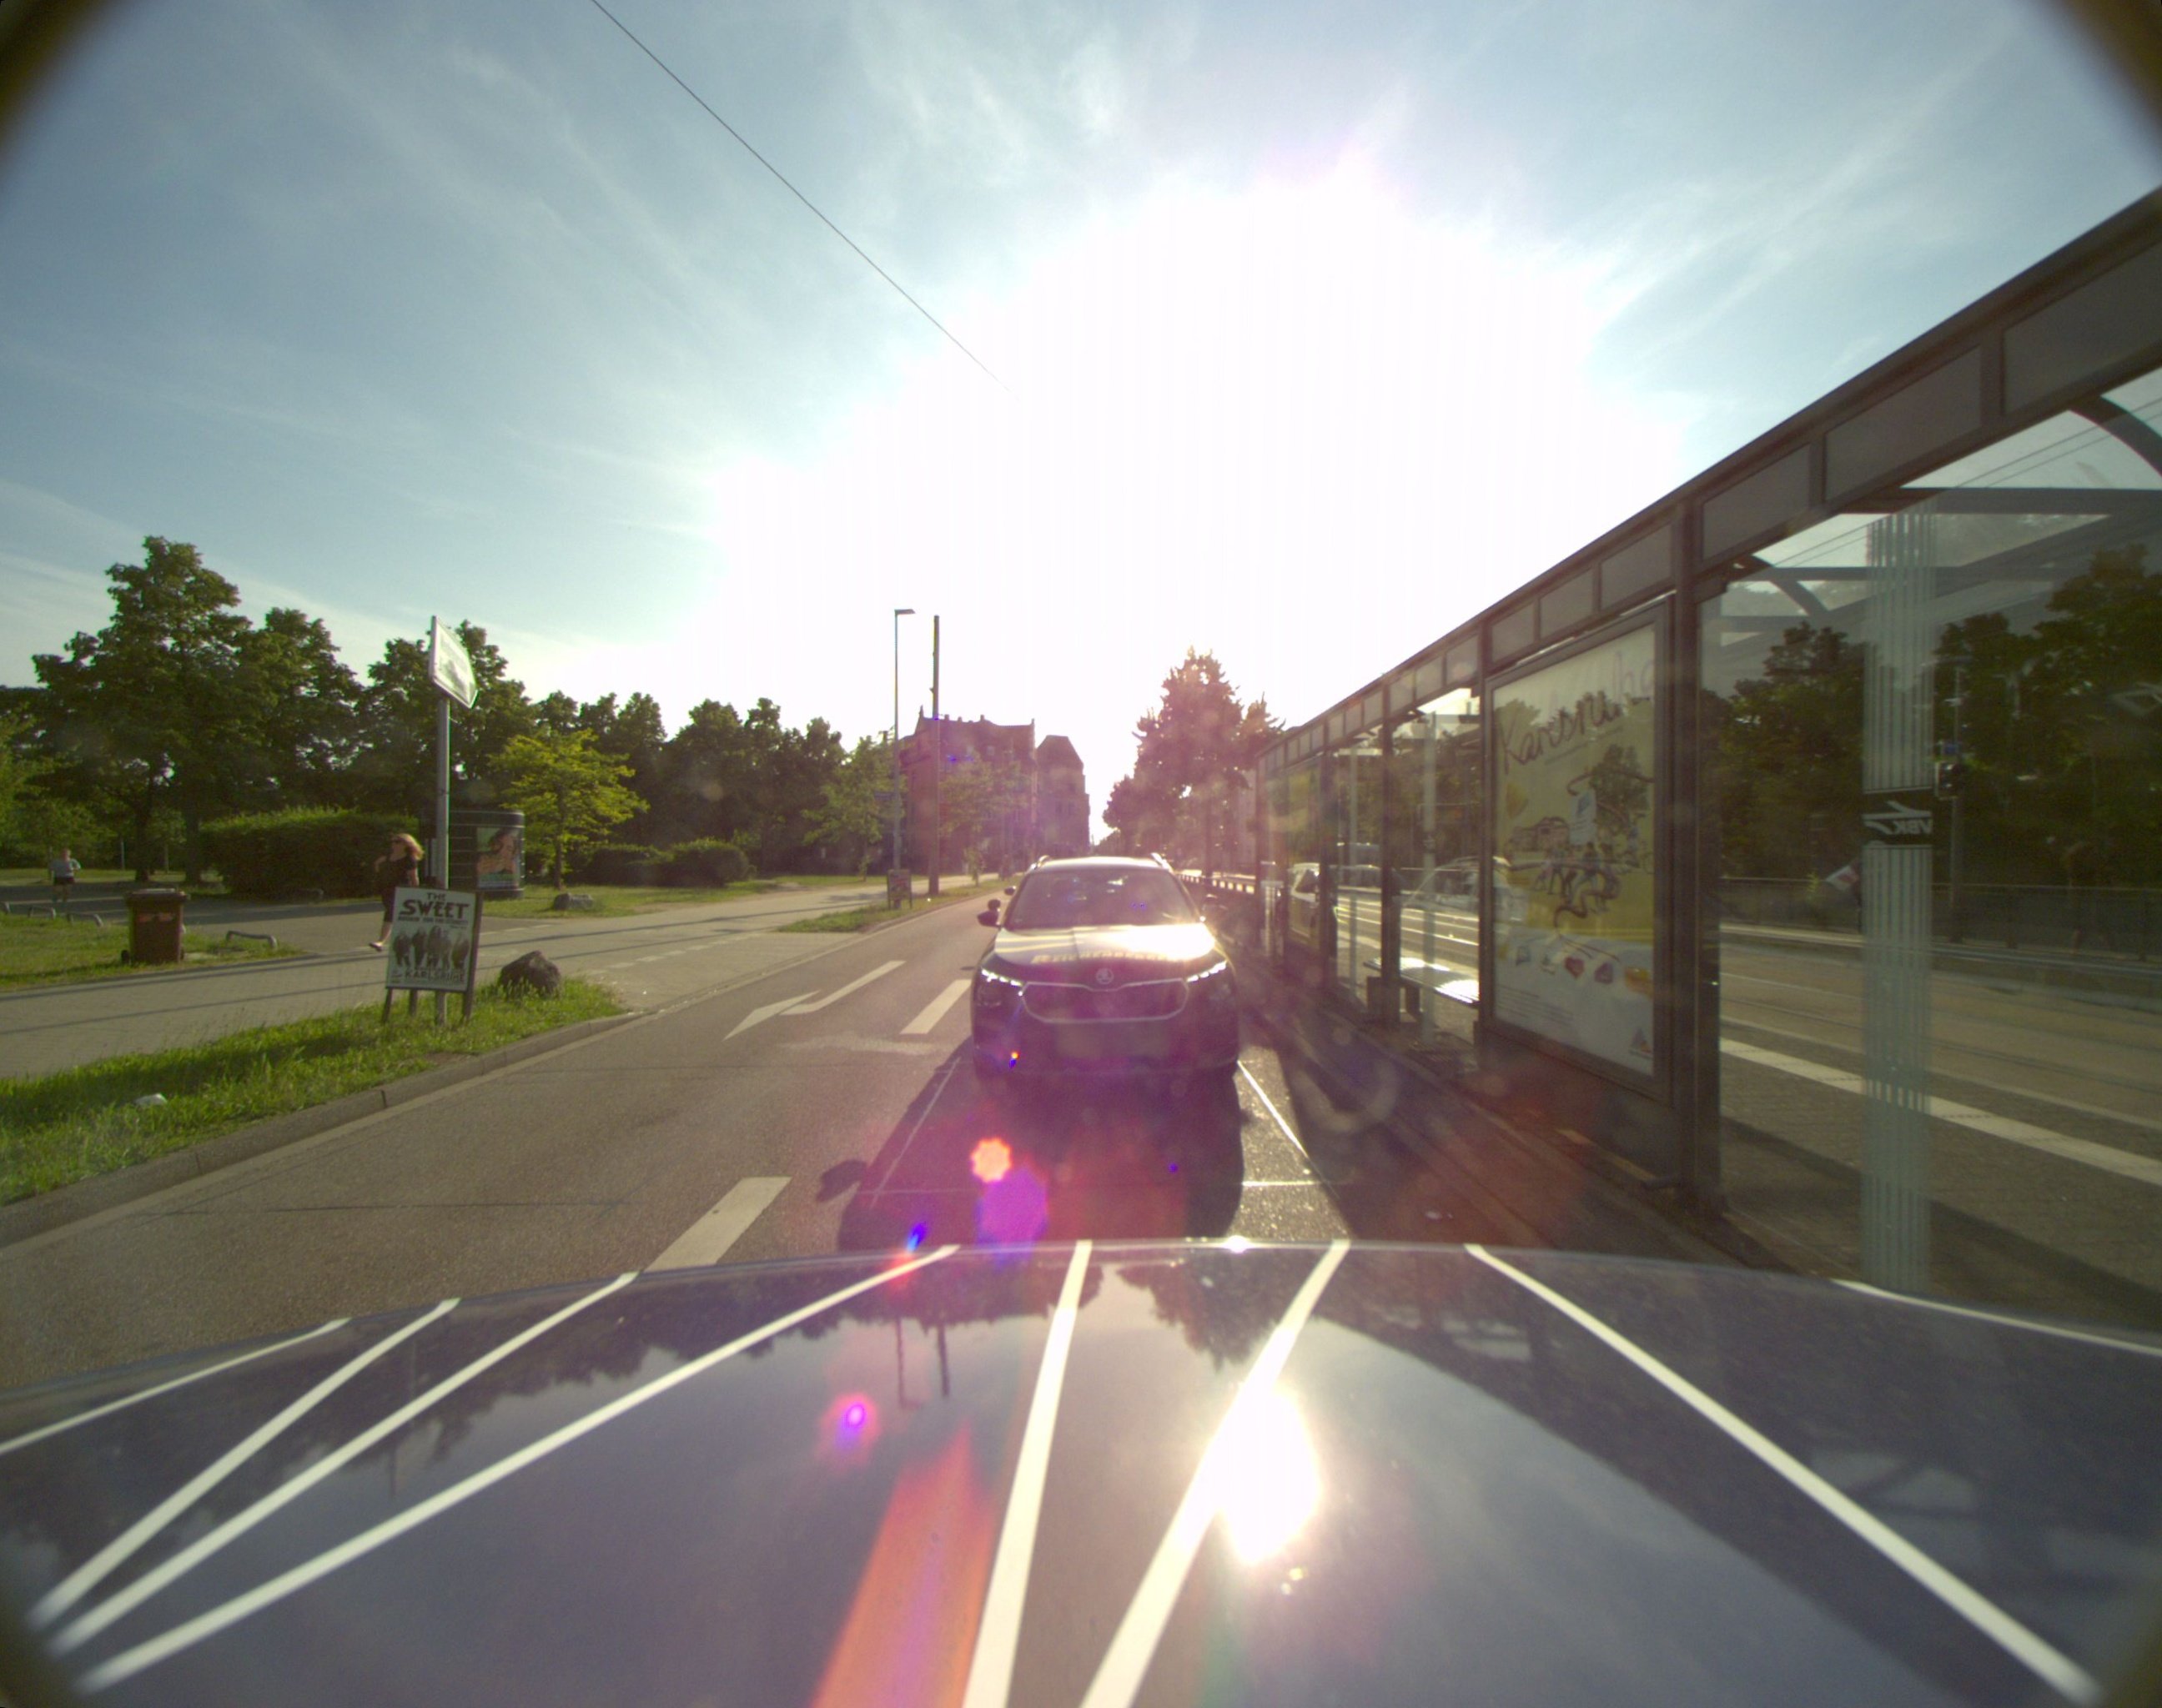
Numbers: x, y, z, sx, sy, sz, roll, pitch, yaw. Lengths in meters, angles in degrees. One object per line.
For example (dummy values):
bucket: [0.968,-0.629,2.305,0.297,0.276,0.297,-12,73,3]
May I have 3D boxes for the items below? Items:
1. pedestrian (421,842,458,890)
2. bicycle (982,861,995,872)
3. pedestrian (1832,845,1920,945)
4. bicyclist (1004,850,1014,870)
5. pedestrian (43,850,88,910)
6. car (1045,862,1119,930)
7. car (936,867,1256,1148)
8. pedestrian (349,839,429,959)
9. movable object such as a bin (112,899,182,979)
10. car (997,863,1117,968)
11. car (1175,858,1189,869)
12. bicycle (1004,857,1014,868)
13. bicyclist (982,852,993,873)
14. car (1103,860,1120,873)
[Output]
pedestrian: [-28.975,0.537,34.325,0.910,2.145,0.891,0,0,13]
bicycle: [-7.998,1.063,65.959,0.740,0.912,2.095,0,0,4]
pedestrian: [13.278,0.666,12.710,0.736,1.618,0.689,0,0,1]
bicyclist: [-6.240,0.531,65.939,0.730,1.763,1.015,0,0,0]
pedestrian: [-28.332,0.712,21.203,0.660,1.641,0.623,0,1,26]
car: [0.049,0.969,19.083,1.672,1.496,3.872,0,0,1]
car: [0.107,0.890,6.241,1.781,1.496,4.000,0,0,1]
pedestrian: [-10.028,0.633,11.031,0.558,1.691,0.662,0,1,0]
movable object such as a bin: [-11.353,1.015,9.247,0.502,0.898,0.526,1,1,39]
car: [-0.330,0.938,13.239,1.781,1.496,4.000,0,0,1]
car: [18.237,1.744,136.994,1.998,2.002,4.000,0,0,0]
bicycle: [-6.246,0.752,65.887,0.740,0.912,2.094,0,0,0]
bicyclist: [-8.043,0.703,65.575,0.753,1.763,1.119,0,0,4]
car: [4.085,1.697,101.243,1.999,1.674,3.999,0,0,-1]
